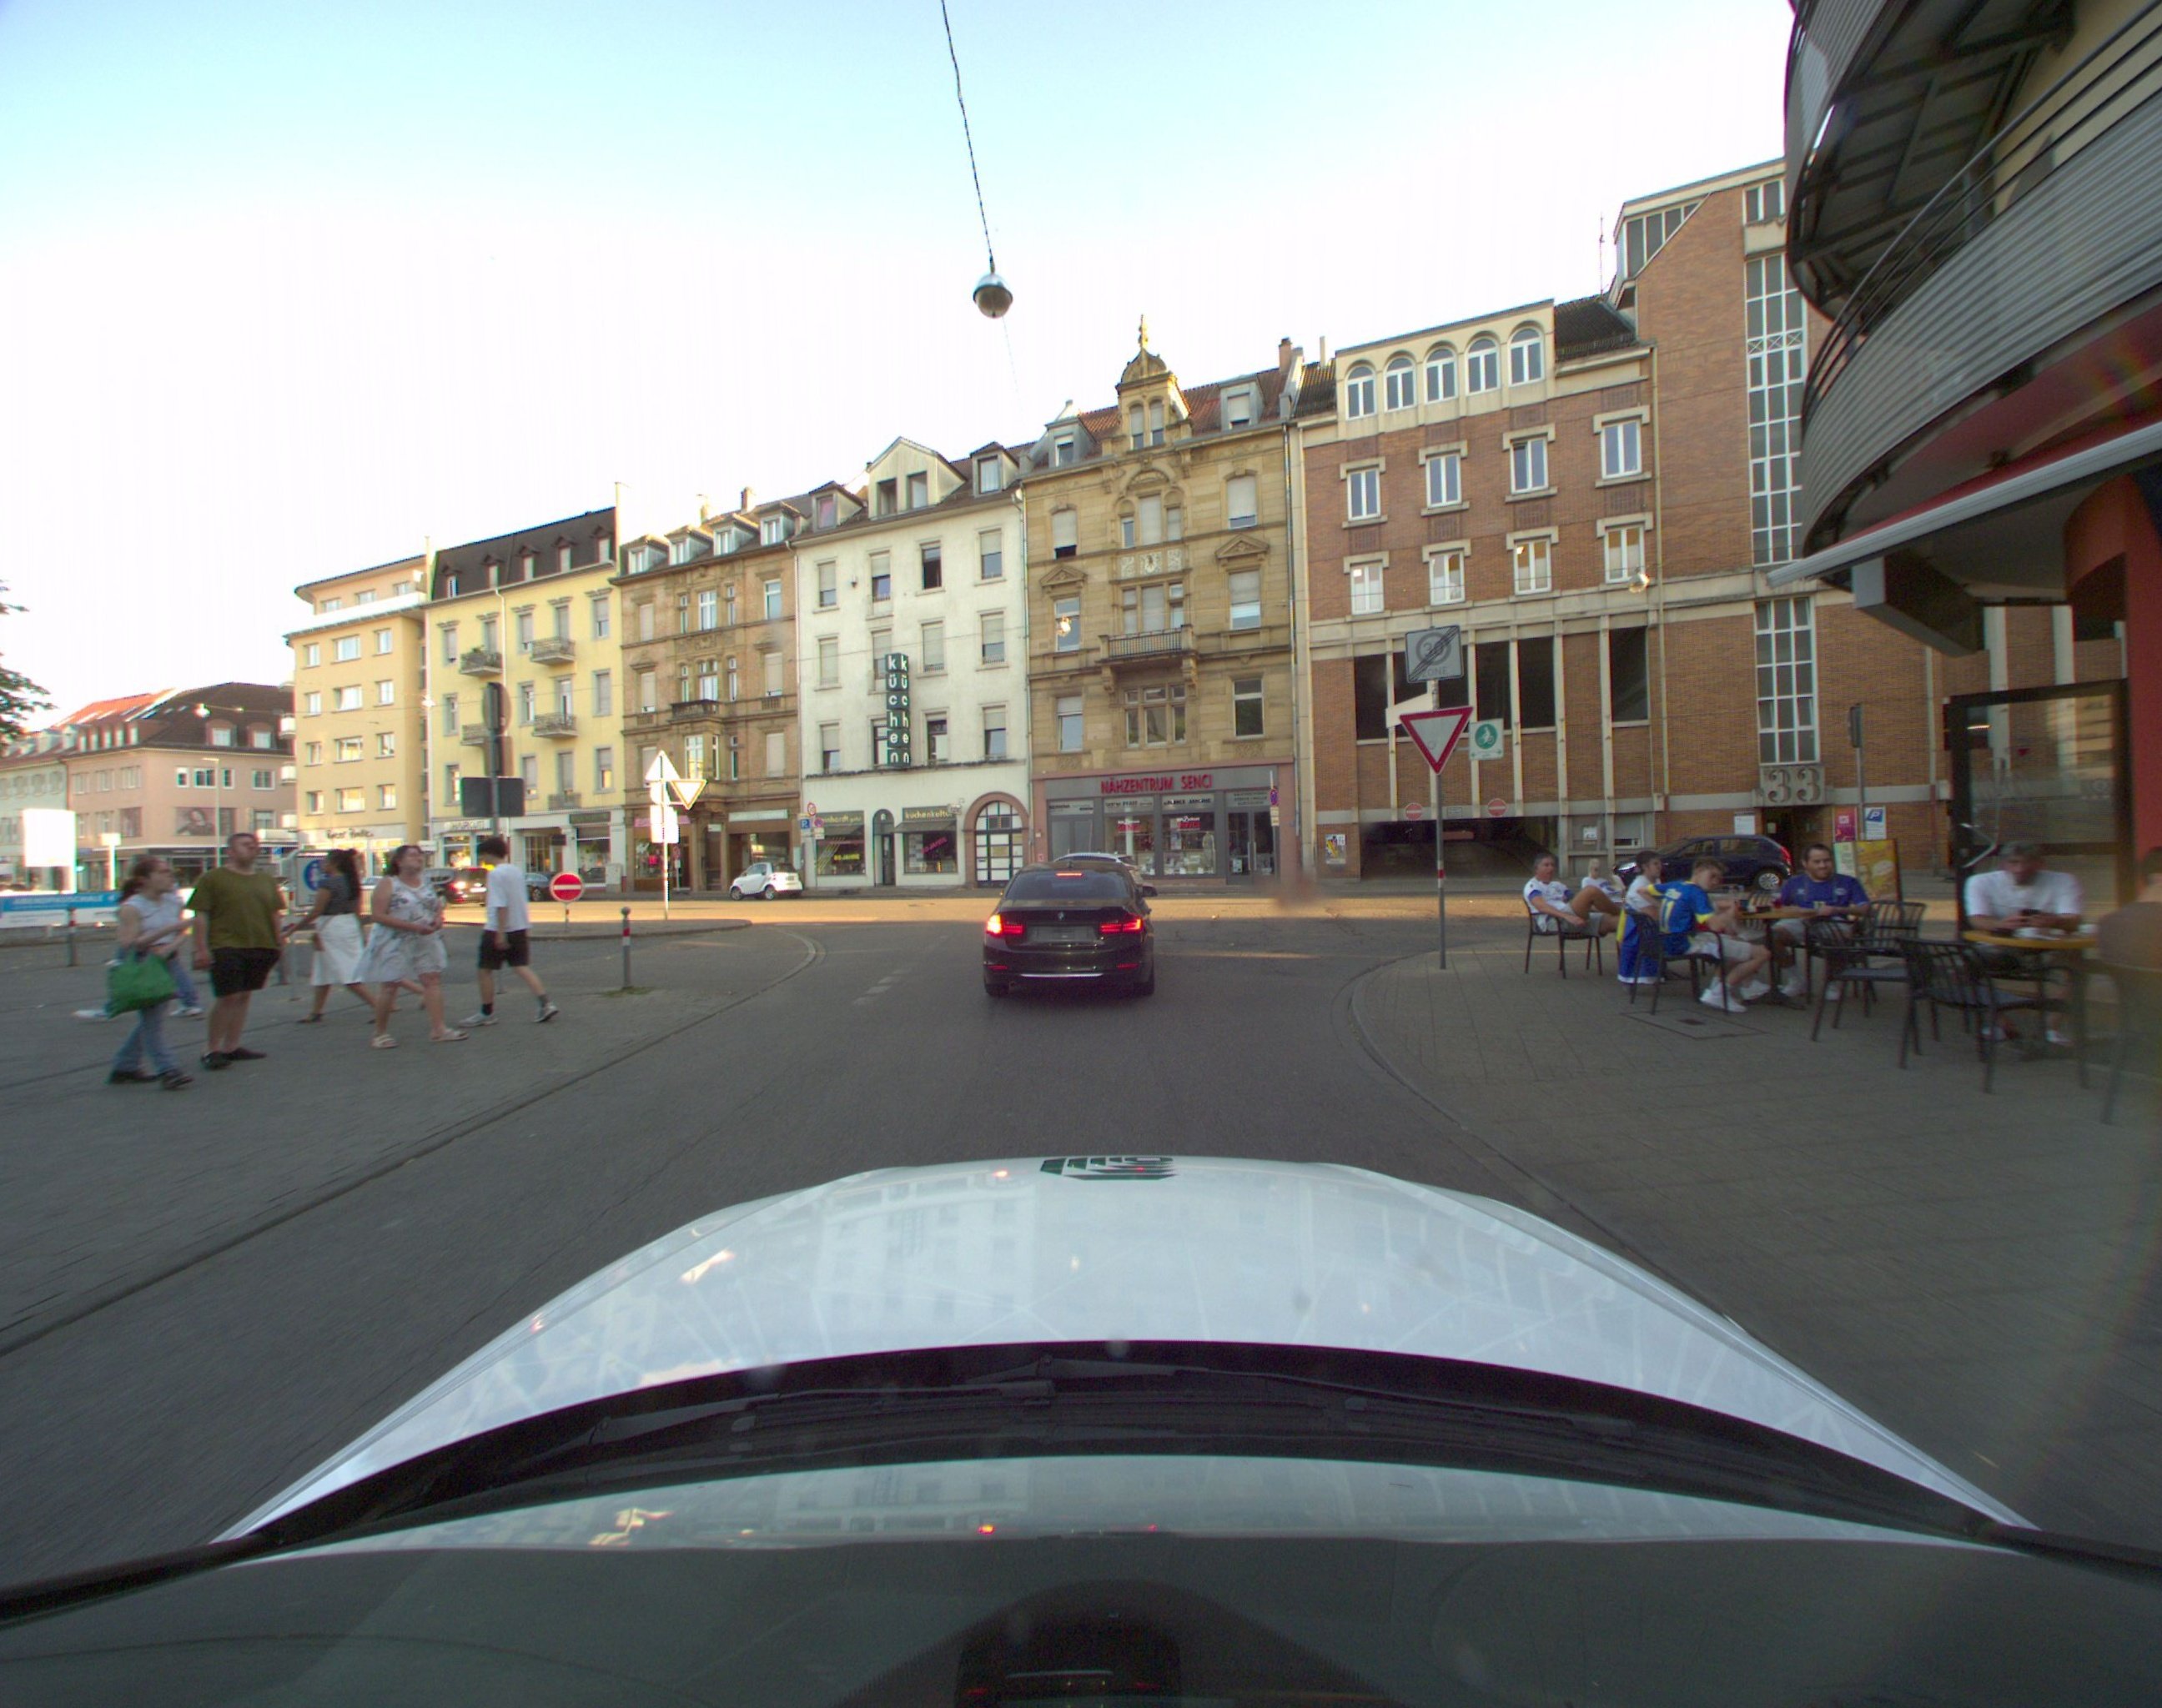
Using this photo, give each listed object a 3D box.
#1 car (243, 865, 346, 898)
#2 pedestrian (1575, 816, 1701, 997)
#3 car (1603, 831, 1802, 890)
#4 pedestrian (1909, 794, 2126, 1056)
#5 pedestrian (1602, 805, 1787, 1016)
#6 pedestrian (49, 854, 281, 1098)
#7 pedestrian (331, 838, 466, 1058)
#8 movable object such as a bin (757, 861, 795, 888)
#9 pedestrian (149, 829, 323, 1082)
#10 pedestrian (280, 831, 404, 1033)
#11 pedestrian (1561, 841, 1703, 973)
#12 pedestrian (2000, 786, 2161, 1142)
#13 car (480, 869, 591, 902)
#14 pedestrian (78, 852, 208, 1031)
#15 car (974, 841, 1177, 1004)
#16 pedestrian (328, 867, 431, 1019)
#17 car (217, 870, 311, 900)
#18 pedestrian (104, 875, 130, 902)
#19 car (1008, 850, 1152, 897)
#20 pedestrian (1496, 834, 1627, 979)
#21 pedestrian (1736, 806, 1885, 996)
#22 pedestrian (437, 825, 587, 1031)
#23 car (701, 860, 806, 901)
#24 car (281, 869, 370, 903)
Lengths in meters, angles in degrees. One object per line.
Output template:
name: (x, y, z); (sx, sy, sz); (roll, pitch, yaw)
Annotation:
car: (-38.590, 1.303, 39.988); (4.188, 1.518, 1.824); (0, 0, 17)
pedestrian: (4.979, 0.452, 7.330); (0.707, 1.536, 0.692); (-2, -1, 15)
car: (16.895, 0.173, 22.410); (3.952, 1.520, 2.011); (-1, 1, 22)
pedestrian: (5.973, 0.413, 5.246); (0.743, 1.536, 0.652); (0, 0, 31)
pedestrian: (4.910, 0.425, 6.583); (0.710, 1.536, 0.853); (-6, 0, -1)
pedestrian: (-6.721, 0.840, 6.032); (0.709, 1.668, 0.883); (0, 0, 1)
pedestrian: (-6.020, 0.771, 7.241); (0.716, 1.803, 0.875); (0, 0, -26)
movable object such as a bin: (-14.011, 0.954, 37.388); (1.381, 1.186, 0.874); (-2, 0, 22)
pedestrian: (-6.821, 0.751, 6.592); (0.705, 1.876, 0.857); (0, 0, 33)
pedestrian: (-7.268, 0.722, 8.052); (0.784, 1.875, 0.707); (0, 0, -31)
pedestrian: (5.761, 0.534, 8.554); (0.687, 1.282, 0.959); (-1, -2, -27)
pedestrian: (5.018, 0.467, 3.712); (0.711, 1.535, 0.758); (-5, 0, -6)
car: (-26.057, 1.497, 38.907); (4.792, 1.434, 2.011); (-2, -1, 22)
pedestrian: (-9.681, 0.854, 8.440); (0.690, 1.746, 0.709); (0, 0, -31)
car: (-0.037, 0.673, 9.785); (1.882, 1.492, 4.204); (-1, -1, 0)
pedestrian: (-7.275, 0.885, 8.475); (0.718, 1.486, 0.598); (0, 0, -31)
car: (-47.519, 1.812, 47.370); (4.747, 1.613, 2.010); (-2, -1, 20)
pedestrian: (-62.232, 2.227, 52.574); (0.803, 1.720, 0.800); (-2, -1, 15)
car: (-0.033, 0.645, 28.612); (4.627, 1.535, 2.010); (0, 0, 20)
pedestrian: (4.968, 0.514, 8.441); (0.772, 1.382, 0.831); (-2, -1, -28)
pedestrian: (6.373, 0.375, 7.131); (0.718, 1.536, 0.843); (0, 0, -37)
pedestrian: (-5.565, 0.663, 7.981); (0.878, 1.853, 0.991); (0, 0, 38)
car: (-13.609, 1.060, 33.847); (3.952, 1.585, 1.715); (0, 0, 22)
car: (-41.801, 1.729, 45.066); (4.356, 1.762, 1.884); (0, 0, 21)
